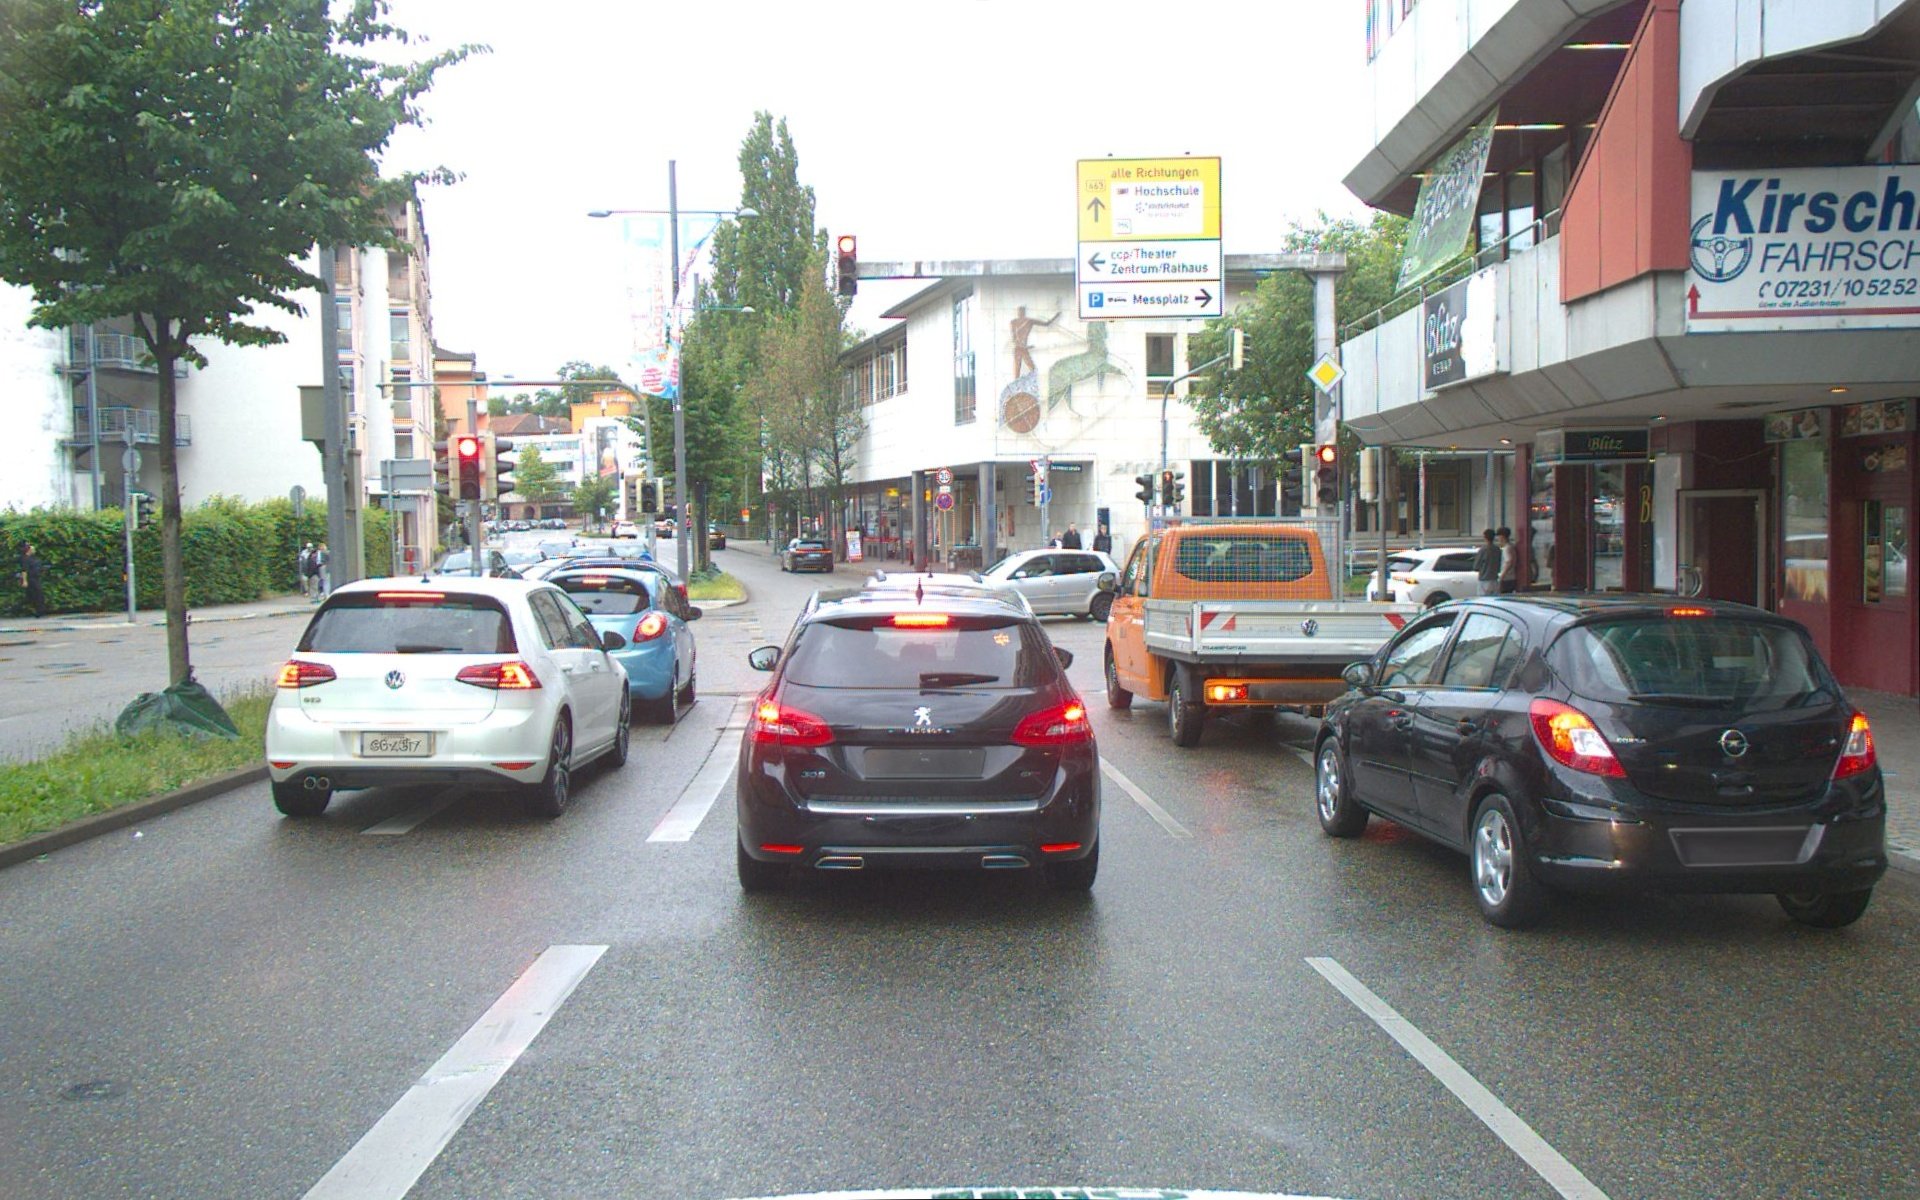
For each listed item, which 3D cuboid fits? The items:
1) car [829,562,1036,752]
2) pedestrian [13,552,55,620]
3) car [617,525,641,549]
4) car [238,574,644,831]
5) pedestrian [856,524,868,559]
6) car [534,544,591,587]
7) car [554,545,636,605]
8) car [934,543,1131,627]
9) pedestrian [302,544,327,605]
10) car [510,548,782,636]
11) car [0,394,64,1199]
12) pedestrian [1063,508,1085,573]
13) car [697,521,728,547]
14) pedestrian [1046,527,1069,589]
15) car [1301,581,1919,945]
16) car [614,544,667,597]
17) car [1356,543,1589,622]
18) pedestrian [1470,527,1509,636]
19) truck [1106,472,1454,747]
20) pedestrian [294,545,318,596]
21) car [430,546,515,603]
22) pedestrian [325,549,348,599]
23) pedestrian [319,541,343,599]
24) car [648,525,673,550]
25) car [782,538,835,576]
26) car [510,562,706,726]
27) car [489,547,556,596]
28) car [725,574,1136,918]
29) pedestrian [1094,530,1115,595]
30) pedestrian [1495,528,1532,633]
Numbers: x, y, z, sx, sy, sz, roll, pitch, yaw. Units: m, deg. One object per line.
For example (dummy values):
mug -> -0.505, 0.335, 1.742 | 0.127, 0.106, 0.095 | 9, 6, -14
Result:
car -> -0.254, 0.421, 15.300 | 1.662, 1.512, 3.793 | 1, 1, -1
pedestrian -> -23.201, -0.340, 41.447 | 0.717, 1.671, 0.638 | 1, -1, -8
car -> -29.161, -5.526, 145.648 | 1.679, 1.915, 3.980 | 1, -1, -18
car -> -3.337, 0.561, 11.399 | 1.742, 1.454, 3.840 | 1, 1, -3
pedestrian -> -5.091, -3.023, 85.762 | 0.461, 1.778, 0.537 | 1, -1, -21
car -> -14.611, -1.283, 60.961 | 1.602, 1.512, 3.605 | 1, 2, -7
car -> -10.510, -0.679, 47.846 | 1.710, 1.607, 3.996 | 1, -1, -4
car -> 1.466, -0.334, 33.939 | 3.681, 1.493, 1.631 | -3, 2, -17
pedestrian -> -19.364, -0.755, 49.616 | 0.529, 1.778, 0.746 | 1, -1, -9
car -> -5.735, -0.159, 30.450 | 4.673, 1.512, 1.622 | 0, 2, -31
car -> -3.037, 0.446, 1.417 | 1.873, 1.903, 5.071 | 1, -1, -2
pedestrian -> 3.490, -1.807, 50.544 | 0.623, 1.930, 0.734 | 1, -1, 6
car -> -16.710, -4.439, 111.497 | 1.695, 1.516, 4.717 | 1, -1, -13
pedestrian -> 2.867, -1.217, 48.673 | 0.623, 1.788, 0.734 | 1, -1, 6
car -> 3.093, 0.647, 8.683 | 1.584, 1.454, 3.839 | 1, 1, -4
car -> -10.999, -0.994, 56.947 | 1.713, 1.669, 3.989 | 1, -1, -11
car -> 10.214, -0.349, 33.026 | 4.221, 1.512, 1.632 | 0, 1, -15
pedestrian -> 8.448, -0.296, 26.388 | 0.417, 1.712, 0.450 | -1, -1, -2
truck -> 2.827, 0.011, 15.941 | 2.133, 2.210, 5.018 | 1, 1, -3
pedestrian -> -20.954, -0.942, 53.018 | 0.569, 1.627, 0.526 | 1, -1, -7
car -> -13.709, -0.743, 46.646 | 1.543, 1.512, 3.607 | 1, 1, -4
pedestrian -> -20.359, -0.842, 54.027 | 0.569, 1.627, 0.526 | 1, -1, -7
pedestrian -> -19.490, -0.916, 51.273 | 0.528, 1.778, 0.564 | 1, -1, -6
car -> -26.620, -5.506, 146.860 | 1.679, 1.970, 3.980 | 1, -1, -18
car -> -6.550, -1.866, 71.189 | 1.755, 1.479, 4.495 | -3, 3, -11
car -> -3.593, 0.380, 17.407 | 1.601, 1.512, 3.606 | 1, 2, -6
car -> -14.248, -0.944, 53.971 | 1.602, 1.512, 3.605 | 1, 2, -7
car -> -0.208, 0.599, 8.997 | 1.742, 1.454, 3.840 | 1, 1, -3
pedestrian -> 4.382, -1.133, 50.125 | 0.623, 1.930, 0.734 | 1, -1, 6
pedestrian -> 8.951, -0.305, 26.758 | 0.388, 1.668, 0.504 | -1, -1, 0
